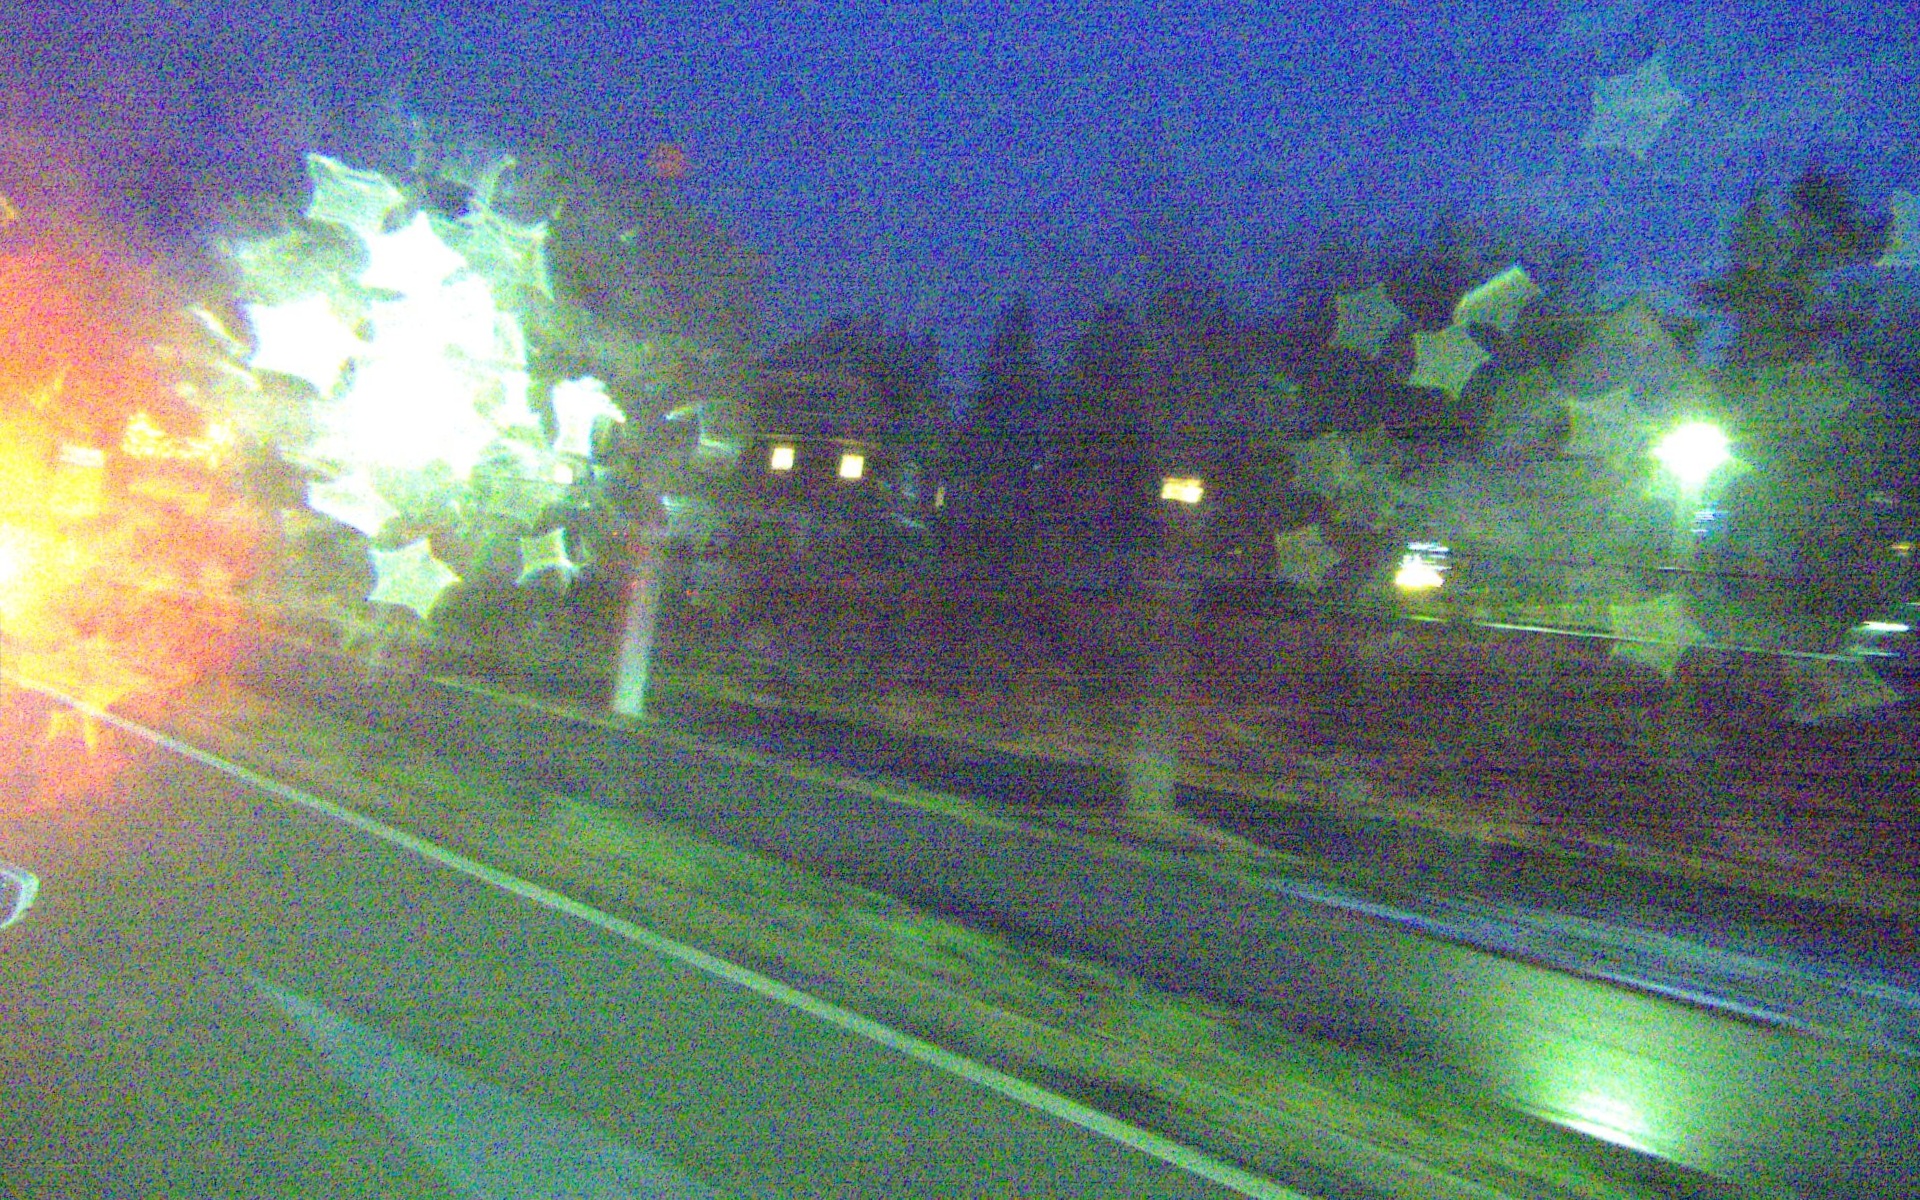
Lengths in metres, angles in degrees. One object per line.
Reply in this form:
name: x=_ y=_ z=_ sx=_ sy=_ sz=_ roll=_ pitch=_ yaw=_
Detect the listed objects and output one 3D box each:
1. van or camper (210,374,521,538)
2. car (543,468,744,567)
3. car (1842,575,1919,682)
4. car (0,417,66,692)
van or camper: x=-14.193 y=-3.419 z=24.127 sx=6.238 sy=2.943 sz=2.590 roll=7 pitch=0 yaw=16
car: x=-7.281 y=-1.895 z=23.222 sx=4.056 sy=1.637 sz=1.643 roll=8 pitch=-1 yaw=17
car: x=16.432 y=0.644 z=15.429 sx=3.925 sy=1.490 sz=1.619 roll=7 pitch=-1 yaw=18
car: x=-9.122 y=-0.613 z=7.847 sx=4.148 sy=1.995 sz=1.946 roll=7 pitch=-1 yaw=32
